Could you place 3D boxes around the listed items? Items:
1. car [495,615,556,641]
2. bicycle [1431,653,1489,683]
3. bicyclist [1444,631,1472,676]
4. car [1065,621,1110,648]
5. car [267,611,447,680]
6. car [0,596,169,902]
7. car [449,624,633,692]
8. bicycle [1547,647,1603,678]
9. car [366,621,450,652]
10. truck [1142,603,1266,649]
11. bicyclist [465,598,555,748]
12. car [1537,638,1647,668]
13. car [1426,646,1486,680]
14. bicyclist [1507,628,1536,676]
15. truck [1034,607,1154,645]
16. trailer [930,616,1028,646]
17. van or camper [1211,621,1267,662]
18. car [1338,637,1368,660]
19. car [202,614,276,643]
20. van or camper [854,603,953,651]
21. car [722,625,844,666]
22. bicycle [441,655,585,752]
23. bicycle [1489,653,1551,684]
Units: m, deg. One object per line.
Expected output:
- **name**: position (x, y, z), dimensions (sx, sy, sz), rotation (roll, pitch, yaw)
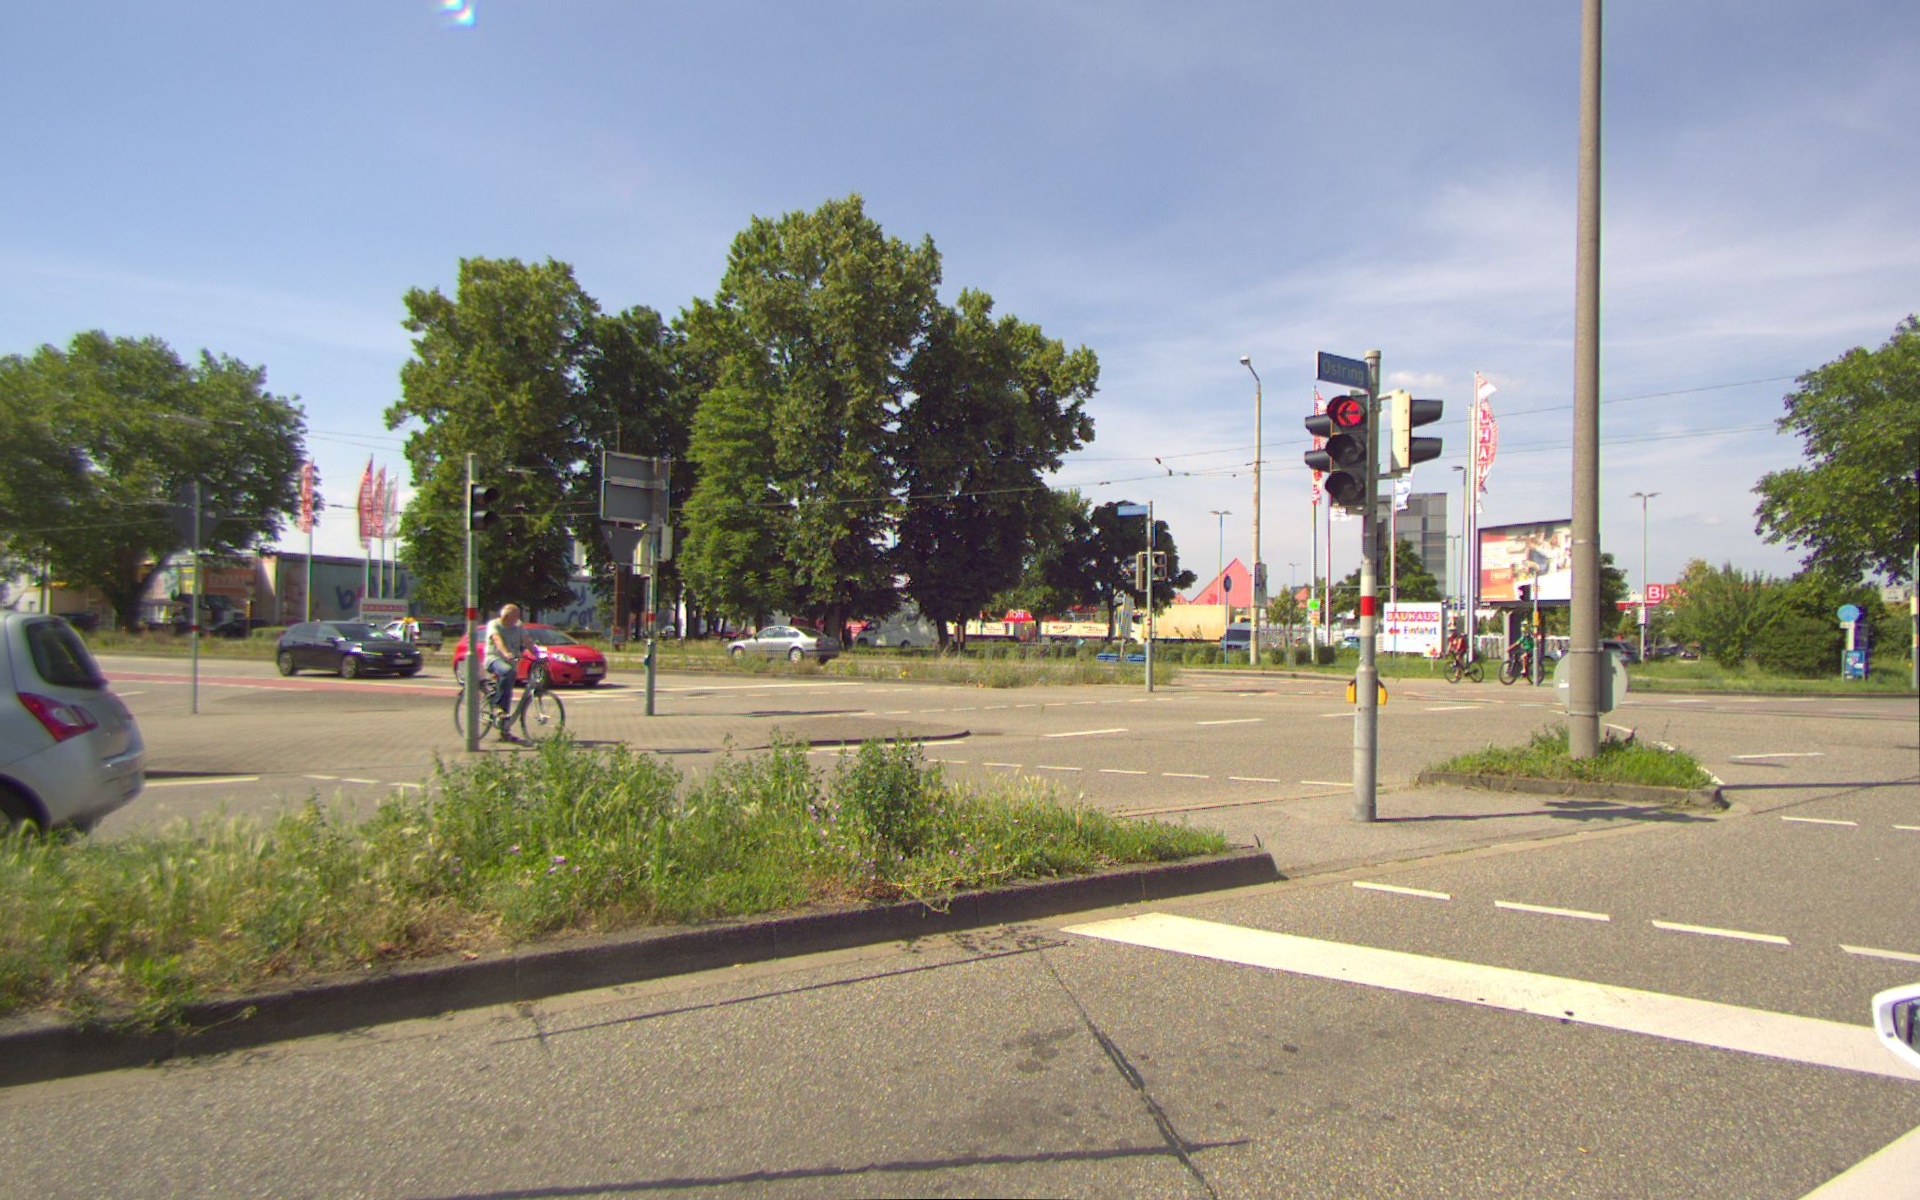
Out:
- **car**: position (-40.296, 2.619, 93.355), dimensions (2.112, 2.308, 5.037), rotation (0, -2, 26)
- **bicycle**: position (16.021, 2.180, 32.203), dimensions (1.719, 0.950, 0.434), rotation (1, -1, -8)
- **bicyclist**: position (15.988, 1.712, 32.251), dimensions (0.598, 1.432, 0.529), rotation (1, -1, -7)
- **car**: position (12.547, 3.362, 98.441), dimensions (2.344, 2.562, 6.118), rotation (0, -2, 28)
- **car**: position (-16.057, 1.185, 26.794), dimensions (3.920, 1.721, 2.001), rotation (0, -2, 18)
- **car**: position (-6.422, 0.729, 4.996), dimensions (3.694, 1.534, 1.640), rotation (2, -2, -32)
- **car**: position (-9.927, 1.319, 23.810), dimensions (3.924, 1.468, 1.846), rotation (0, -2, 25)
- **bicycle**: position (21.593, 2.198, 35.274), dimensions (1.864, 1.051, 0.594), rotation (1, -1, -16)
- **car**: position (-26.964, 1.764, 49.099), dimensions (3.788, 1.446, 1.698), rotation (0, -2, 26)
- **truck**: position (18.482, 1.928, 76.200), dimensions (8.753, 3.355, 3.159), rotation (0, -2, 23)
- **bicyclist**: position (-5.662, 0.899, 12.661), dimensions (0.754, 1.812, 0.704), rotation (0, -1, 31)
- **car**: position (33.653, 2.814, 53.597), dimensions (2.180, 1.432, 4.529), rotation (2, -2, -37)
- **car**: position (26.377, 3.315, 53.607), dimensions (2.157, 1.593, 4.579), rotation (0, -2, 17)
- **bicyclist**: position (17.722, 1.634, 31.705), dimensions (0.599, 1.511, 0.528), rotation (1, -1, -15)
- **truck**: position (11.035, 2.134, 83.115), dimensions (9.431, 2.930, 2.925), rotation (0, -2, 24)
- **trailer**: position (1.638, 2.671, 87.493), dimensions (8.057, 2.523, 2.924), rotation (0, -2, 26)
- **van or camper**: position (16.197, 2.393, 58.168), dimensions (2.155, 2.239, 5.513), rotation (0, -2, 26)
- **car**: position (27.922, 3.418, 71.336), dimensions (1.787, 1.593, 4.278), rotation (0, -2, 24)
- **car**: position (-52.266, 2.078, 72.859), dimensions (1.971, 2.040, 3.980), rotation (0, -2, 41)
- **van or camper**: position (-3.881, 1.833, 68.783), dimensions (6.207, 3.141, 2.709), rotation (1, -1, 26)
- **car**: position (-6.614, 1.667, 37.493), dimensions (4.380, 1.430, 1.637), rotation (0, -2, 28)
- **bicycle**: position (-5.655, 1.265, 12.643), dimensions (2.128, 1.078, 0.524), rotation (0, -2, 31)
- **bicycle**: position (17.667, 2.163, 31.685), dimensions (1.963, 0.950, 0.416), rotation (1, -1, -14)
